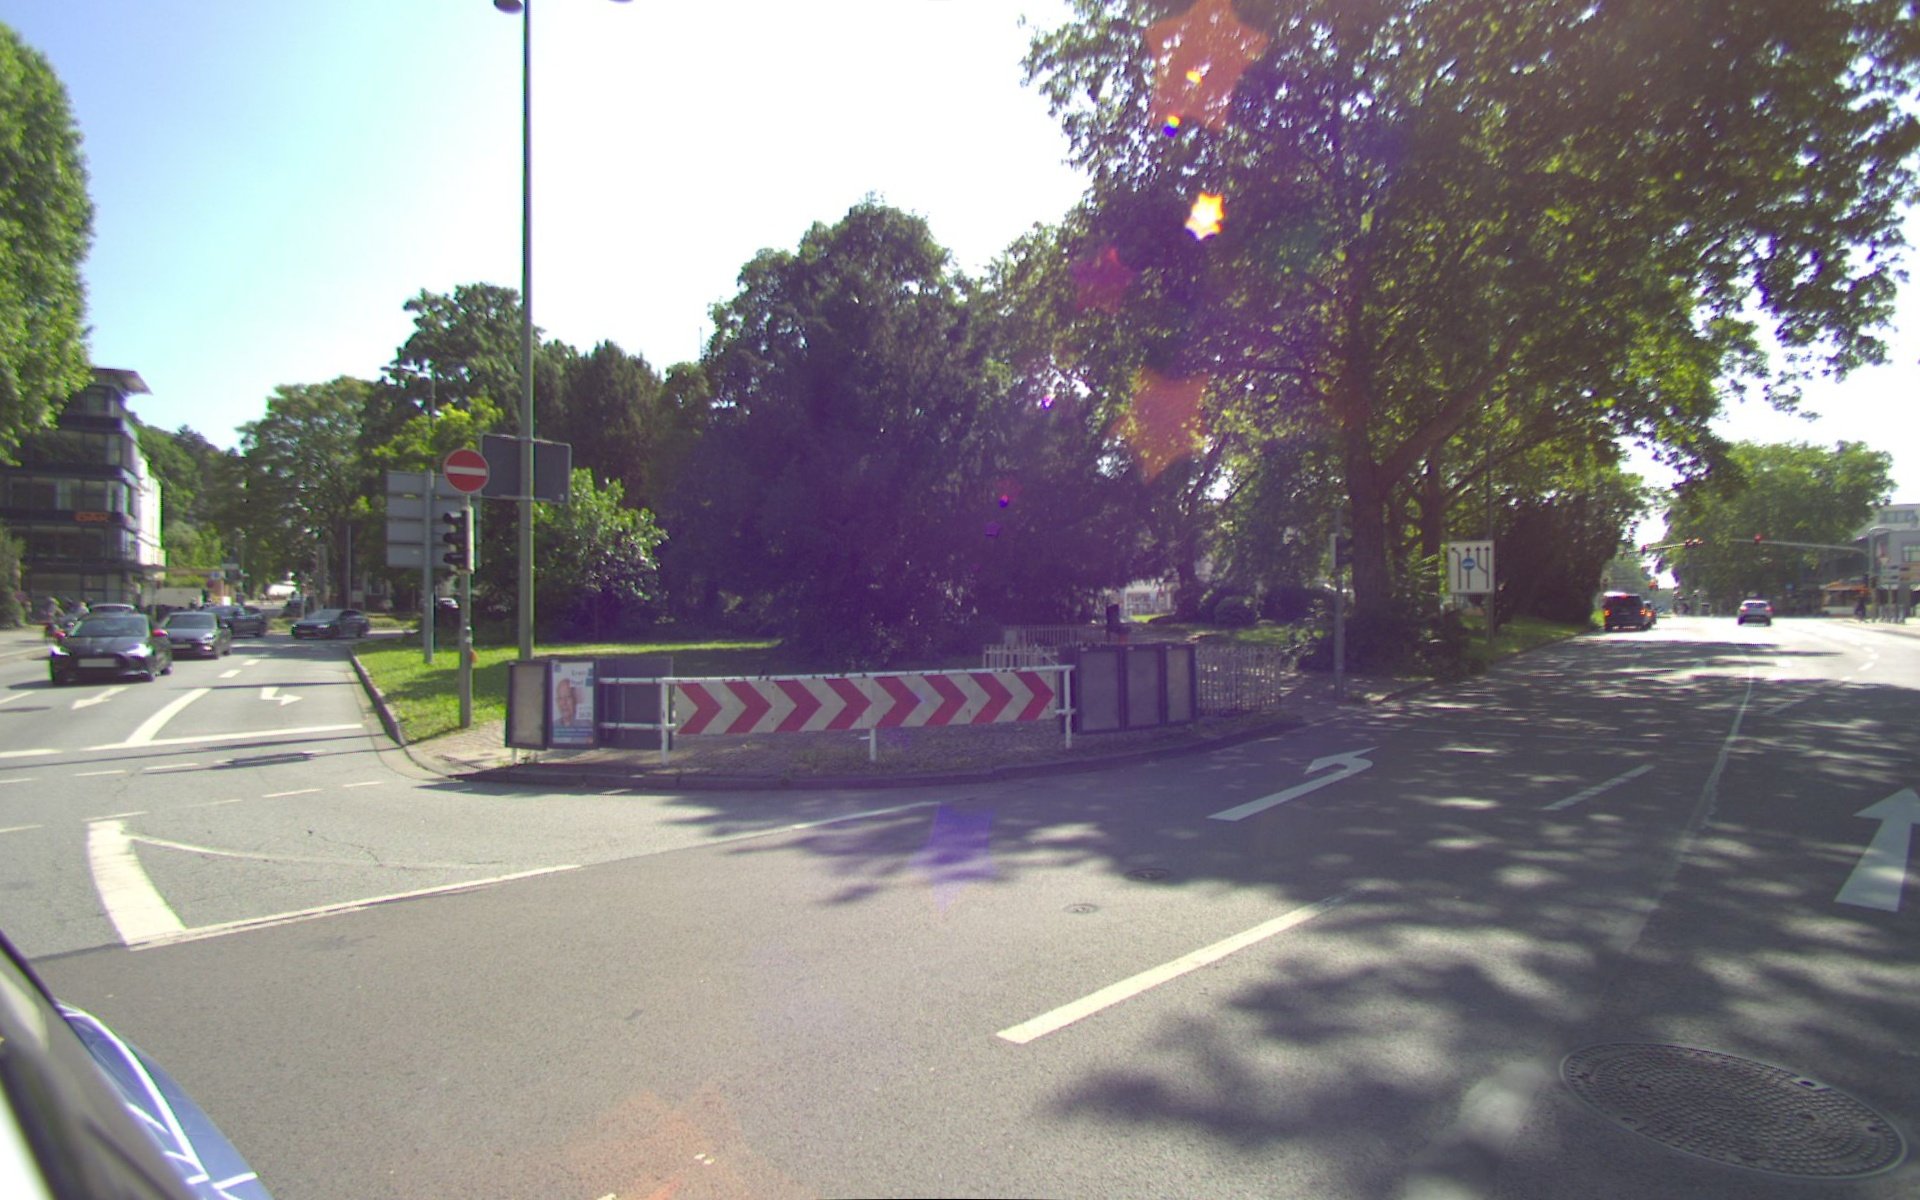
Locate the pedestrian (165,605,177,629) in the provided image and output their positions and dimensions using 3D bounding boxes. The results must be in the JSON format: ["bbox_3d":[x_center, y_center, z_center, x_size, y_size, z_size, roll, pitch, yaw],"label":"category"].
[{"bbox_3d":[-58.122,1.239,74.539,0.592,1.718,0.606,0,-1,-28],"label":"pedestrian"}]

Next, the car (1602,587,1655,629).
[{"bbox_3d":[36.087,0.418,54.574,1.934,2.184,4.004,-2,-1,39],"label":"car"}]

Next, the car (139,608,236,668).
[{"bbox_3d":[-24.441,1.173,32.160,1.858,1.696,4.155,2,0,-30],"label":"car"}]

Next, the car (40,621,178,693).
[{"bbox_3d":[-19.044,1.223,22.820,1.781,1.462,3.965,1,-2,-32],"label":"car"}]

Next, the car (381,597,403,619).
[{"bbox_3d":[-53.017,0.763,94.435,1.820,2.029,4.012,0,0,-30],"label":"car"}]

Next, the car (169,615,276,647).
[{"bbox_3d":[-34.512,1.422,47.529,1.914,1.440,4.553,0,-1,-4],"label":"car"}]

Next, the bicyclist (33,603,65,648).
[{"bbox_3d":[-34.472,0.949,38.314,0.754,1.648,0.946,1,0,-35],"label":"bicyclist"}]

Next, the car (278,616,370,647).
[{"bbox_3d":[-30.773,1.488,49.158,1.913,1.440,4.554,0,-1,-5],"label":"car"}]

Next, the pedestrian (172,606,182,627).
[{"bbox_3d":[-63.377,1.358,81.912,0.592,1.718,0.606,0,-1,-33],"label":"pedestrian"}]

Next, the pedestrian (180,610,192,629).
[{"bbox_3d":[-65.568,1.629,85.778,0.593,1.609,0.605,0,-1,-10],"label":"pedestrian"}]

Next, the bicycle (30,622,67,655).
[{"bbox_3d":[-34.354,1.437,38.178,0.747,1.129,2.007,1,0,-34],"label":"bicycle"}]

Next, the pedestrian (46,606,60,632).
[{"bbox_3d":[-59.891,1.263,66.852,0.643,1.718,0.647,0,0,-38],"label":"pedestrian"}]

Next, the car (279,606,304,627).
[{"bbox_3d":[-59.146,1.423,89.534,1.821,1.801,4.011,0,-1,-33],"label":"car"}]

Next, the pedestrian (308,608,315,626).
[{"bbox_3d":[-63.838,1.658,99.627,0.592,1.718,0.606,0,-1,-33],"label":"pedestrian"}]

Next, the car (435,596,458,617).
[{"bbox_3d":[-49.868,0.642,98.249,1.820,2.029,4.012,0,0,-30],"label":"car"}]

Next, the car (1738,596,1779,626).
[{"bbox_3d":[48.224,0.657,61.077,1.849,1.748,4.004,-2,-1,39],"label":"car"}]

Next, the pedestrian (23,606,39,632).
[{"bbox_3d":[-61.086,1.268,66.538,0.679,1.718,0.604,0,-1,-37],"label":"pedestrian"}]

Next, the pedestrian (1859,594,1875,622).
[{"bbox_3d":[58.836,0.518,65.655,0.695,1.800,0.825,-1,-1,37],"label":"pedestrian"}]

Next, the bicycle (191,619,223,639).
[{"bbox_3d":[-42.216,1.634,56.741,0.699,1.062,2.214,0,0,-16],"label":"bicycle"}]

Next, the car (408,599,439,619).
[{"bbox_3d":[-46.127,0.787,86.948,1.821,1.674,4.009,0,0,-36],"label":"car"}]

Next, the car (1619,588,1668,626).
[{"bbox_3d":[39.525,0.405,58.474,1.934,2.096,4.004,-1,-1,39],"label":"car"}]

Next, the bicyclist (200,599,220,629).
[{"bbox_3d":[-42.120,0.780,56.843,0.699,1.625,0.734,0,0,-16],"label":"bicyclist"}]

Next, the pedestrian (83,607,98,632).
[{"bbox_3d":[-58.480,1.317,68.070,0.690,1.718,0.604,0,-1,-33],"label":"pedestrian"}]

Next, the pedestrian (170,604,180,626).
[{"bbox_3d":[-61.786,1.173,79.666,0.592,1.718,0.606,0,-1,-33],"label":"pedestrian"}]

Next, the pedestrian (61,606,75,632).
[{"bbox_3d":[-60.334,1.294,68.421,0.594,1.718,0.692,0,-1,-32],"label":"pedestrian"}]

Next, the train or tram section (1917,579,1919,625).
[{"bbox_3d":[79.697,0.093,79.389,2.114,3.711,6.304,0,-1,-25],"label":"train or tram section"}]

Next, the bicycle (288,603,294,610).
[{"bbox_3d":[-101.470,0.995,153.554,0.557,1.170,1.905,0,-1,-28],"label":"bicycle"}]

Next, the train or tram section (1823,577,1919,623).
[{"bbox_3d":[77.058,0.027,85.122,2.114,3.711,6.390,0,-1,-26],"label":"train or tram section"}]

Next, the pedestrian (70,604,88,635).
[{"bbox_3d":[-48.455,1.045,55.640,0.700,1.685,0.536,0,0,-36],"label":"pedestrian"}]

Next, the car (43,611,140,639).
[{"bbox_3d":[-51.798,1.439,60.498,4.348,1.566,1.688,0,0,-39],"label":"car"}]

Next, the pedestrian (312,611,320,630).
[{"bbox_3d":[-57.746,1.832,90.798,0.592,1.718,0.606,0,-1,-34],"label":"pedestrian"}]
